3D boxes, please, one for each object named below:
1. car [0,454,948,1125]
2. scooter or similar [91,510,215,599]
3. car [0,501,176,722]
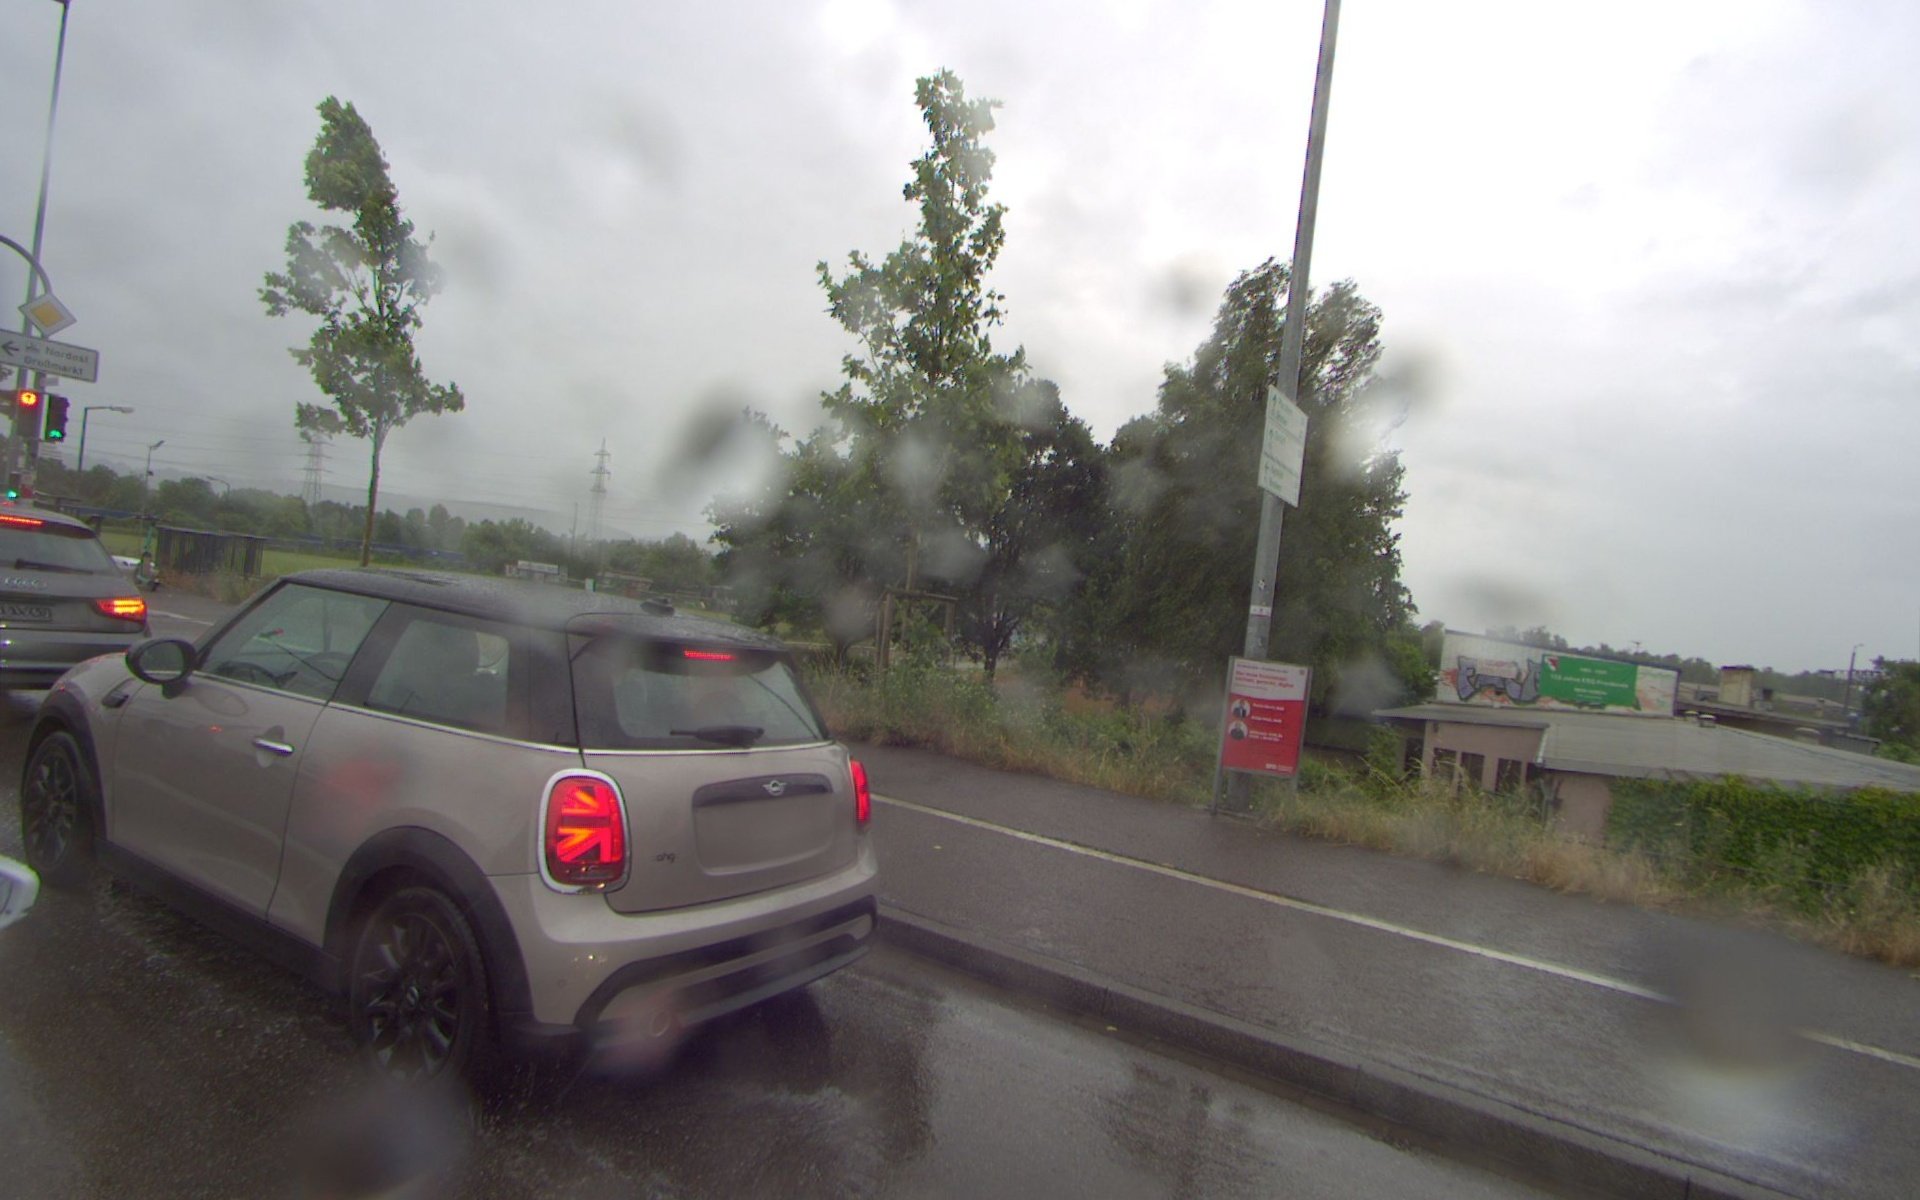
[{"bbox_3d":[-2.177,0.420,3.999,3.815,1.524,1.707,4,-5,30],"label":"car"},{"bbox_3d":[-13.873,-0.799,17.249,2.971,1.226,0.691,7,0,33],"label":"scooter or similar"},{"bbox_3d":[-7.499,-0.062,7.255,3.569,1.383,1.600,5,-1,30],"label":"car"}]
